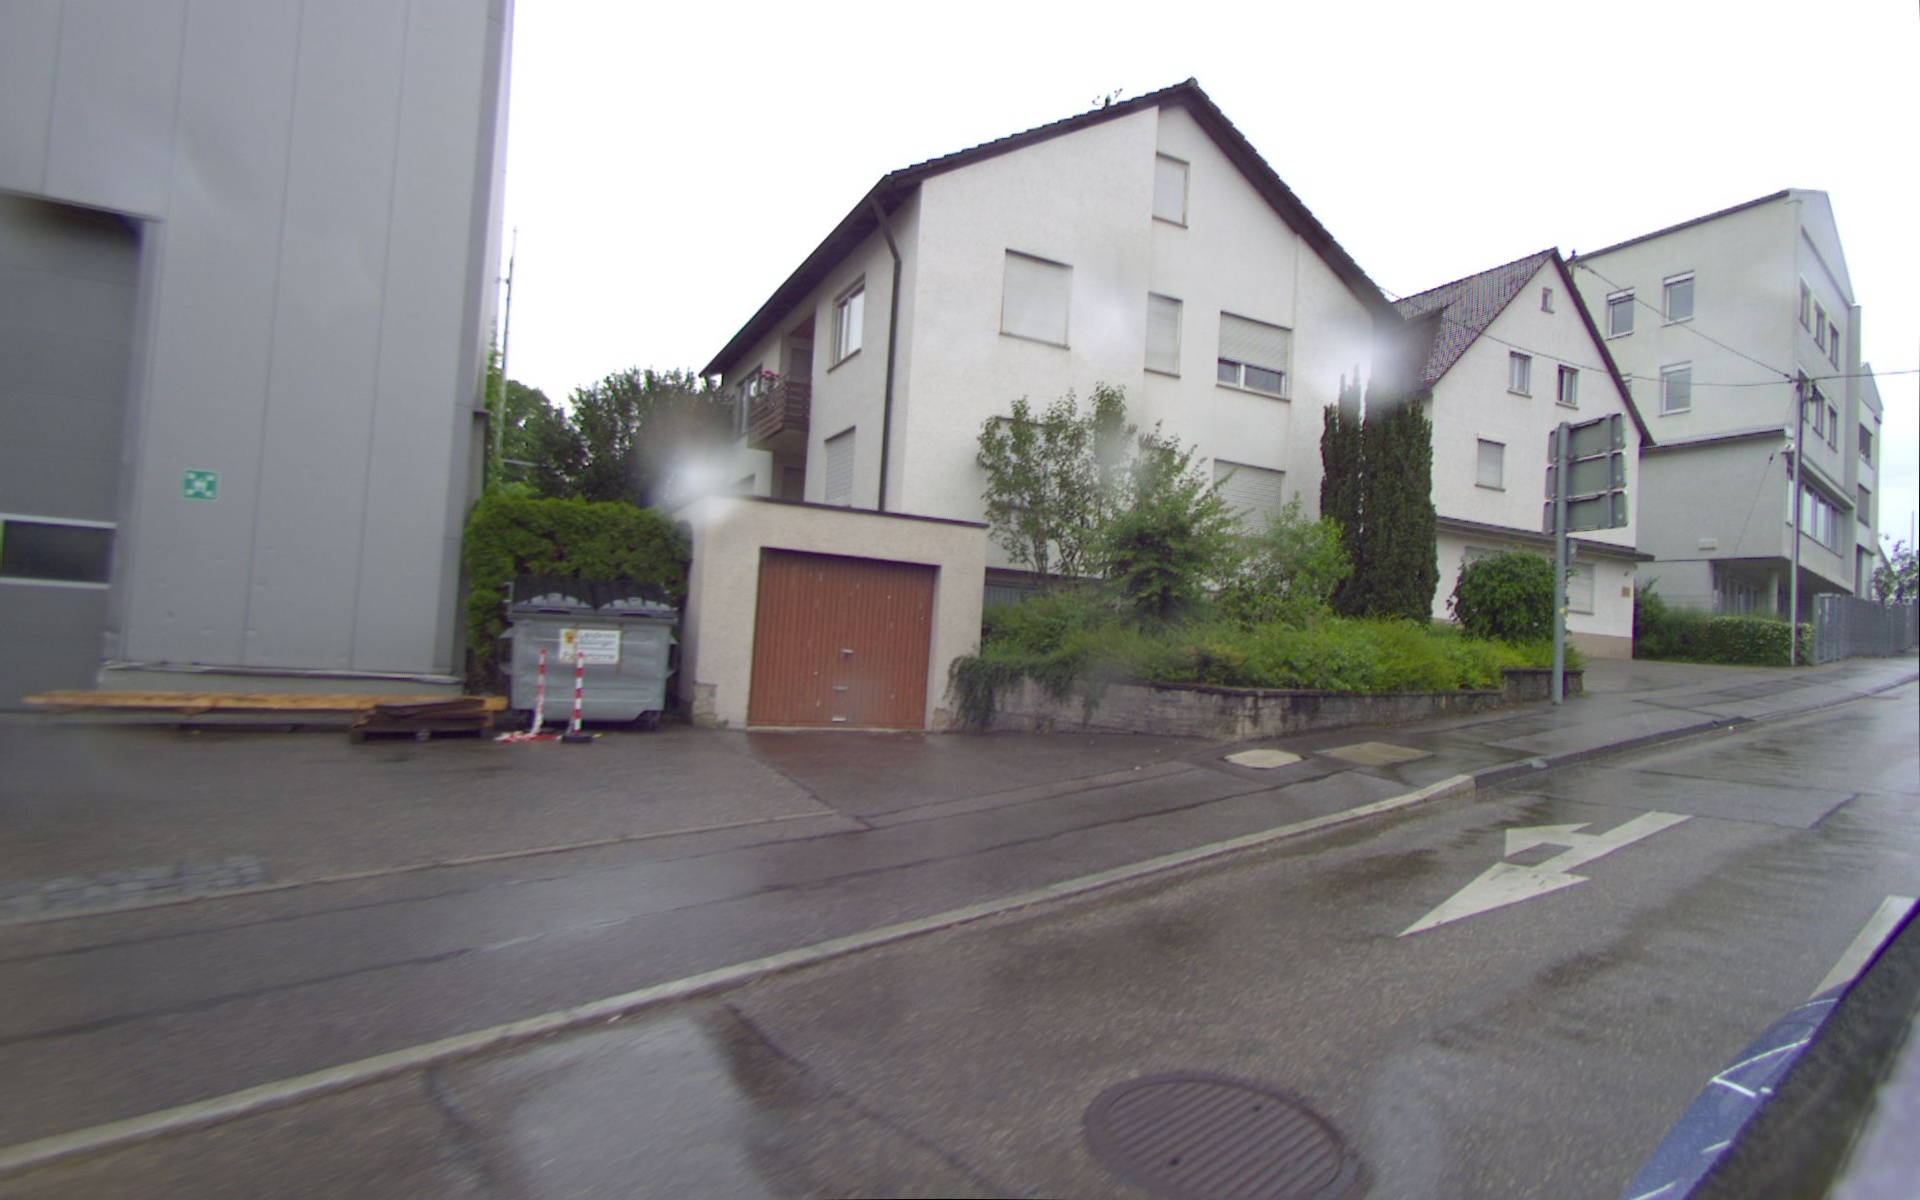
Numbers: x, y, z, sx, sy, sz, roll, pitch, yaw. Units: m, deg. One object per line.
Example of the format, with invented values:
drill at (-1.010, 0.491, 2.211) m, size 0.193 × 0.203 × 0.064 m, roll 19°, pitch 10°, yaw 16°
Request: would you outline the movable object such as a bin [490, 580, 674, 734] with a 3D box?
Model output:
movable object such as a bin at (-4.171, 0.593, 11.125) m, size 1.742 × 1.537 × 1.268 m, roll 2°, pitch 1°, yaw -25°
